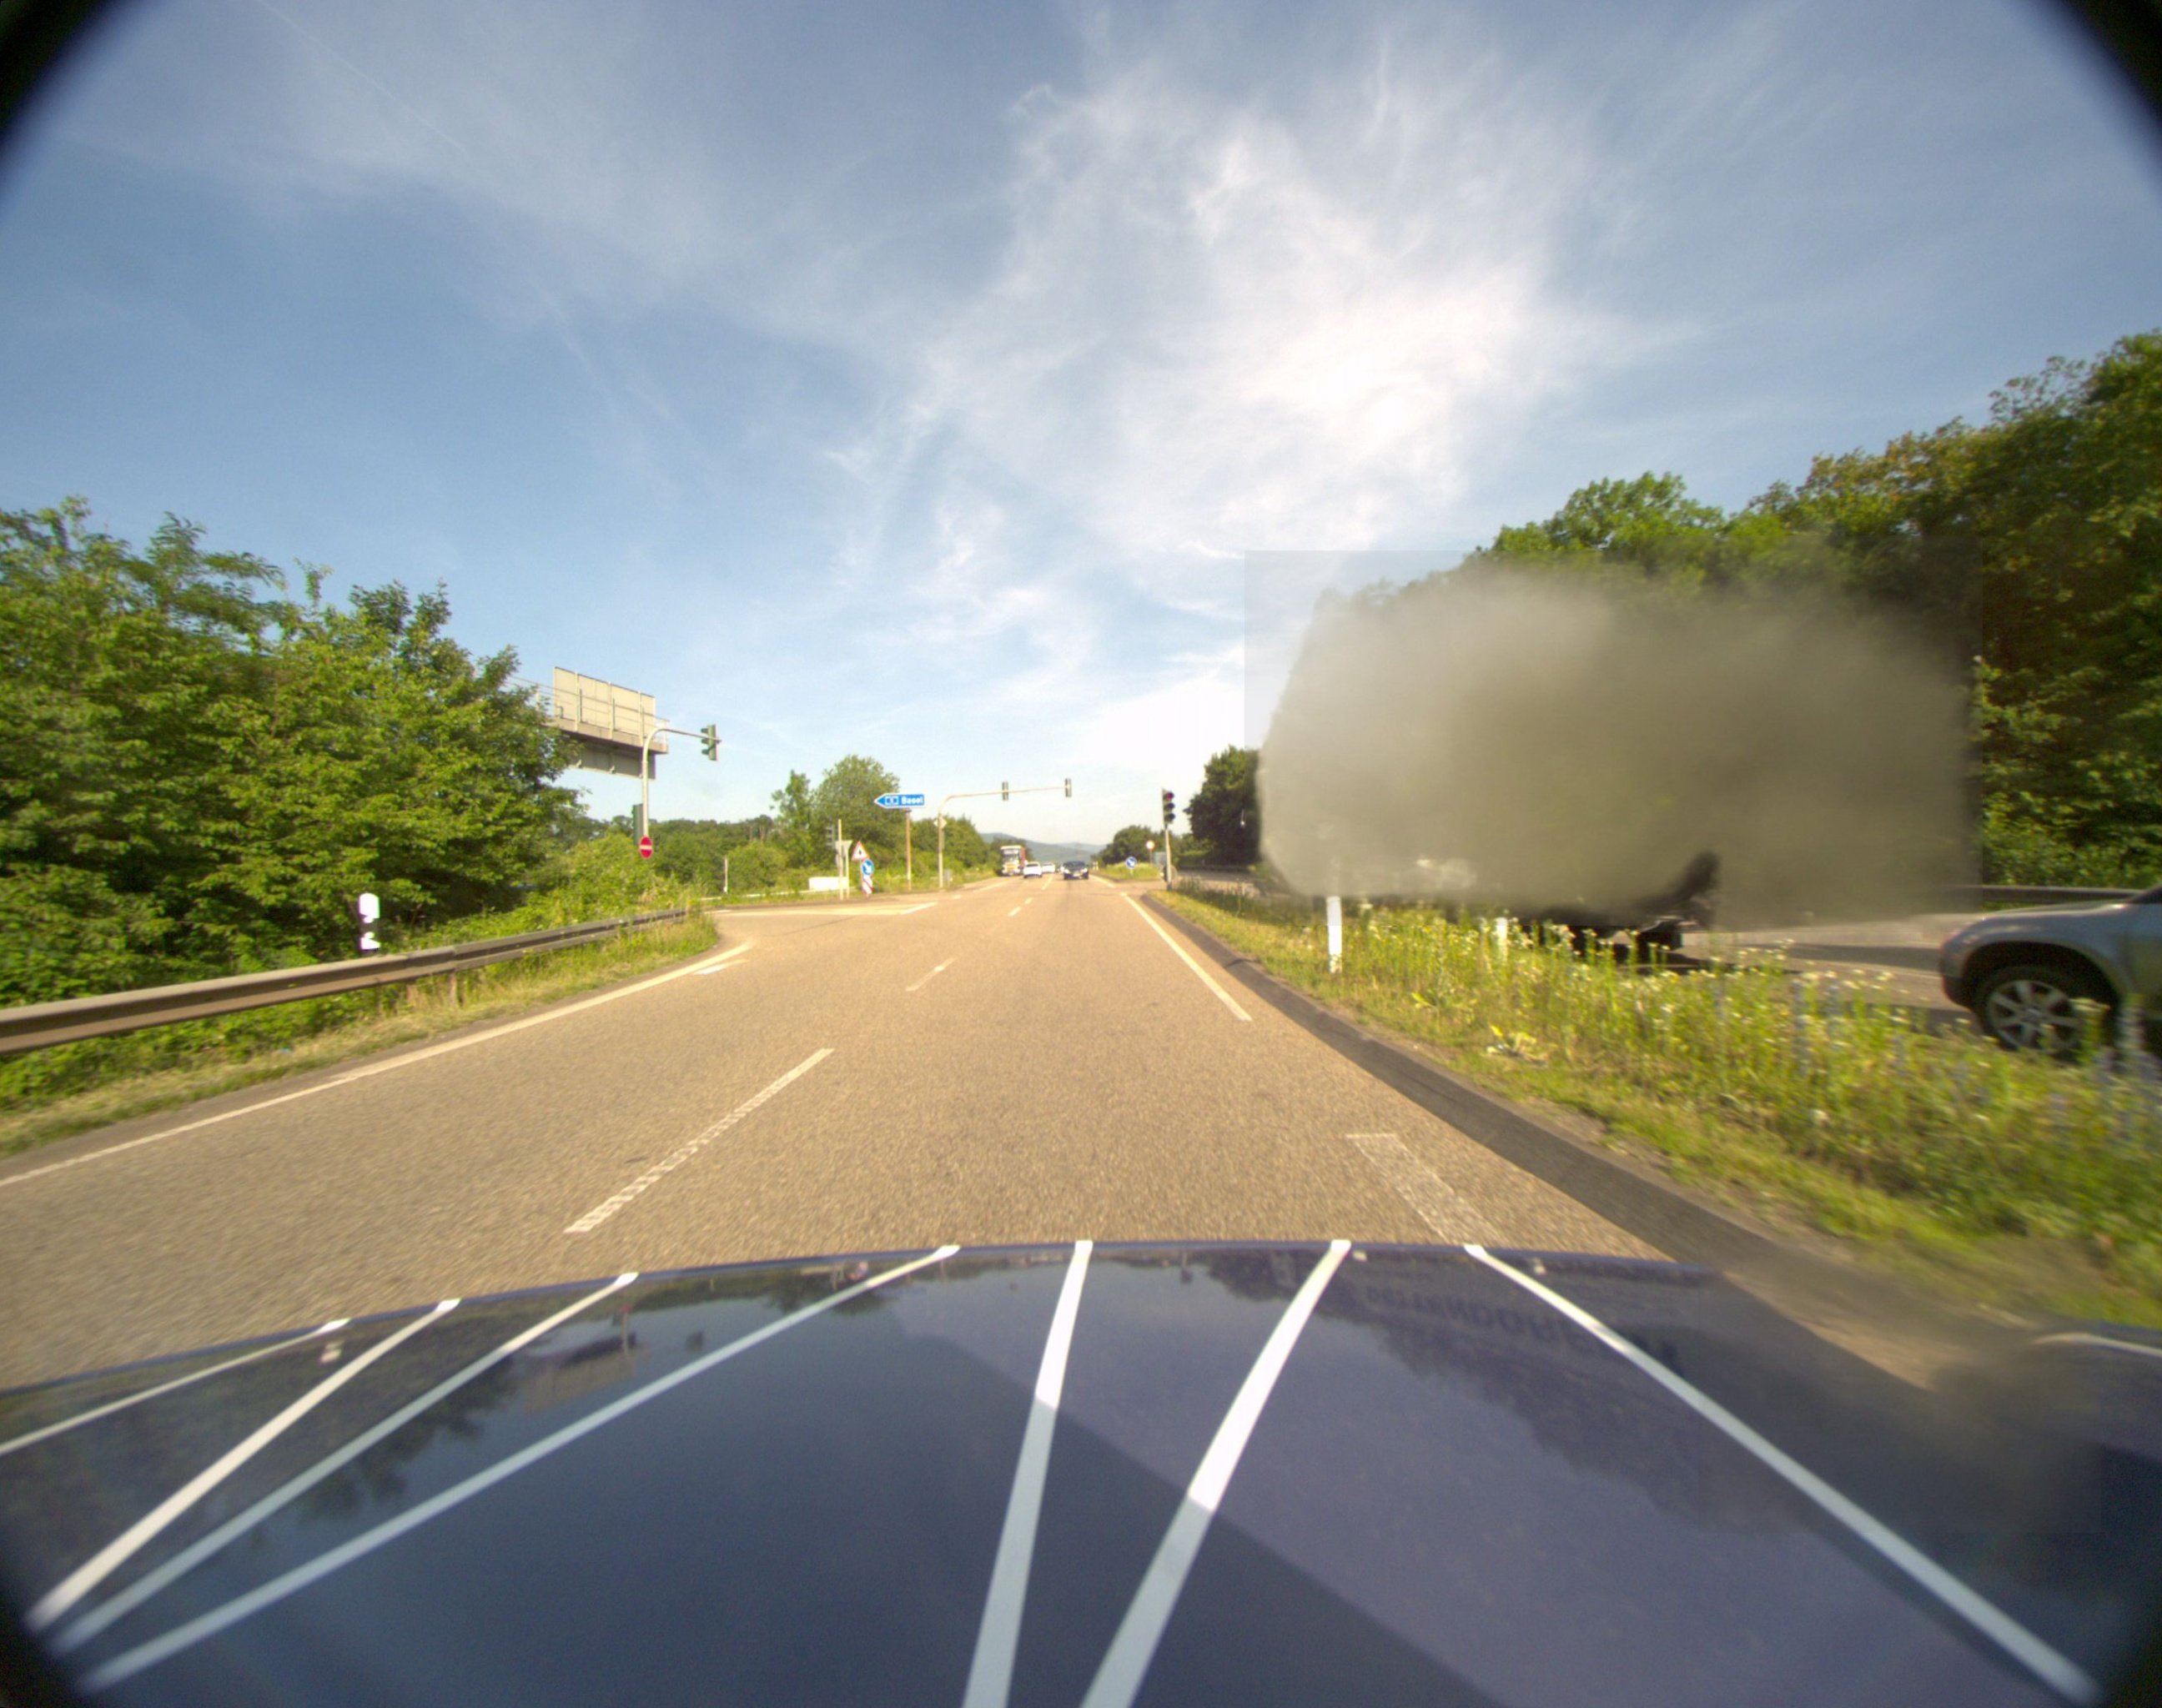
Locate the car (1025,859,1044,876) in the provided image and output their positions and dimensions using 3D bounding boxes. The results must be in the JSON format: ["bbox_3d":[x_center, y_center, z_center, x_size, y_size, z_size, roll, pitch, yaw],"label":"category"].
[{"bbox_3d":[-4.638,1.316,76.093,1.875,1.625,4.833,-1,0,-3],"label":"car"}]

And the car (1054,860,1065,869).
[{"bbox_3d":[-4.563,2.126,157.802,1.999,1.632,3.999,-3,0,-4],"label":"car"}]

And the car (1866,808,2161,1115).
[{"bbox_3d":[6.601,0.551,3.319,1.705,1.622,4.370,-1,0,-3],"label":"car"}]

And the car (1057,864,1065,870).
[{"bbox_3d":[-5.608,3.639,209.594,1.999,1.632,3.999,-3,0,-4],"label":"car"}]

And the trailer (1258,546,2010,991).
[{"bbox_3d":[6.808,-0.764,14.048,3.000,3.972,14.011,-3,0,-2],"label":"trailer"}]

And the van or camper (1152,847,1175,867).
[{"bbox_3d":[11.432,0.408,105.616,2.419,2.695,6.436,1,0,-1],"label":"van or camper"}]

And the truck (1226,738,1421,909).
[{"bbox_3d":[6.471,-0.716,21.613,2.899,3.974,6.720,-3,0,-3],"label":"truck"}]

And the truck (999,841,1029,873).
[{"bbox_3d":[-9.372,0.481,107.209,3.197,3.995,14.561,-3,0,-2],"label":"truck"}]

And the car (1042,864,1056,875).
[{"bbox_3d":[-5.203,2.497,122.045,1.999,1.632,3.999,-3,0,-4],"label":"car"}]

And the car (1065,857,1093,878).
[{"bbox_3d":[-0.183,1.003,57.285,1.862,1.452,4.568,-3,0,-2],"label":"car"}]

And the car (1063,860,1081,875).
[{"bbox_3d":[-1.124,1.643,91.997,1.999,1.632,3.999,-3,0,-2],"label":"car"}]
